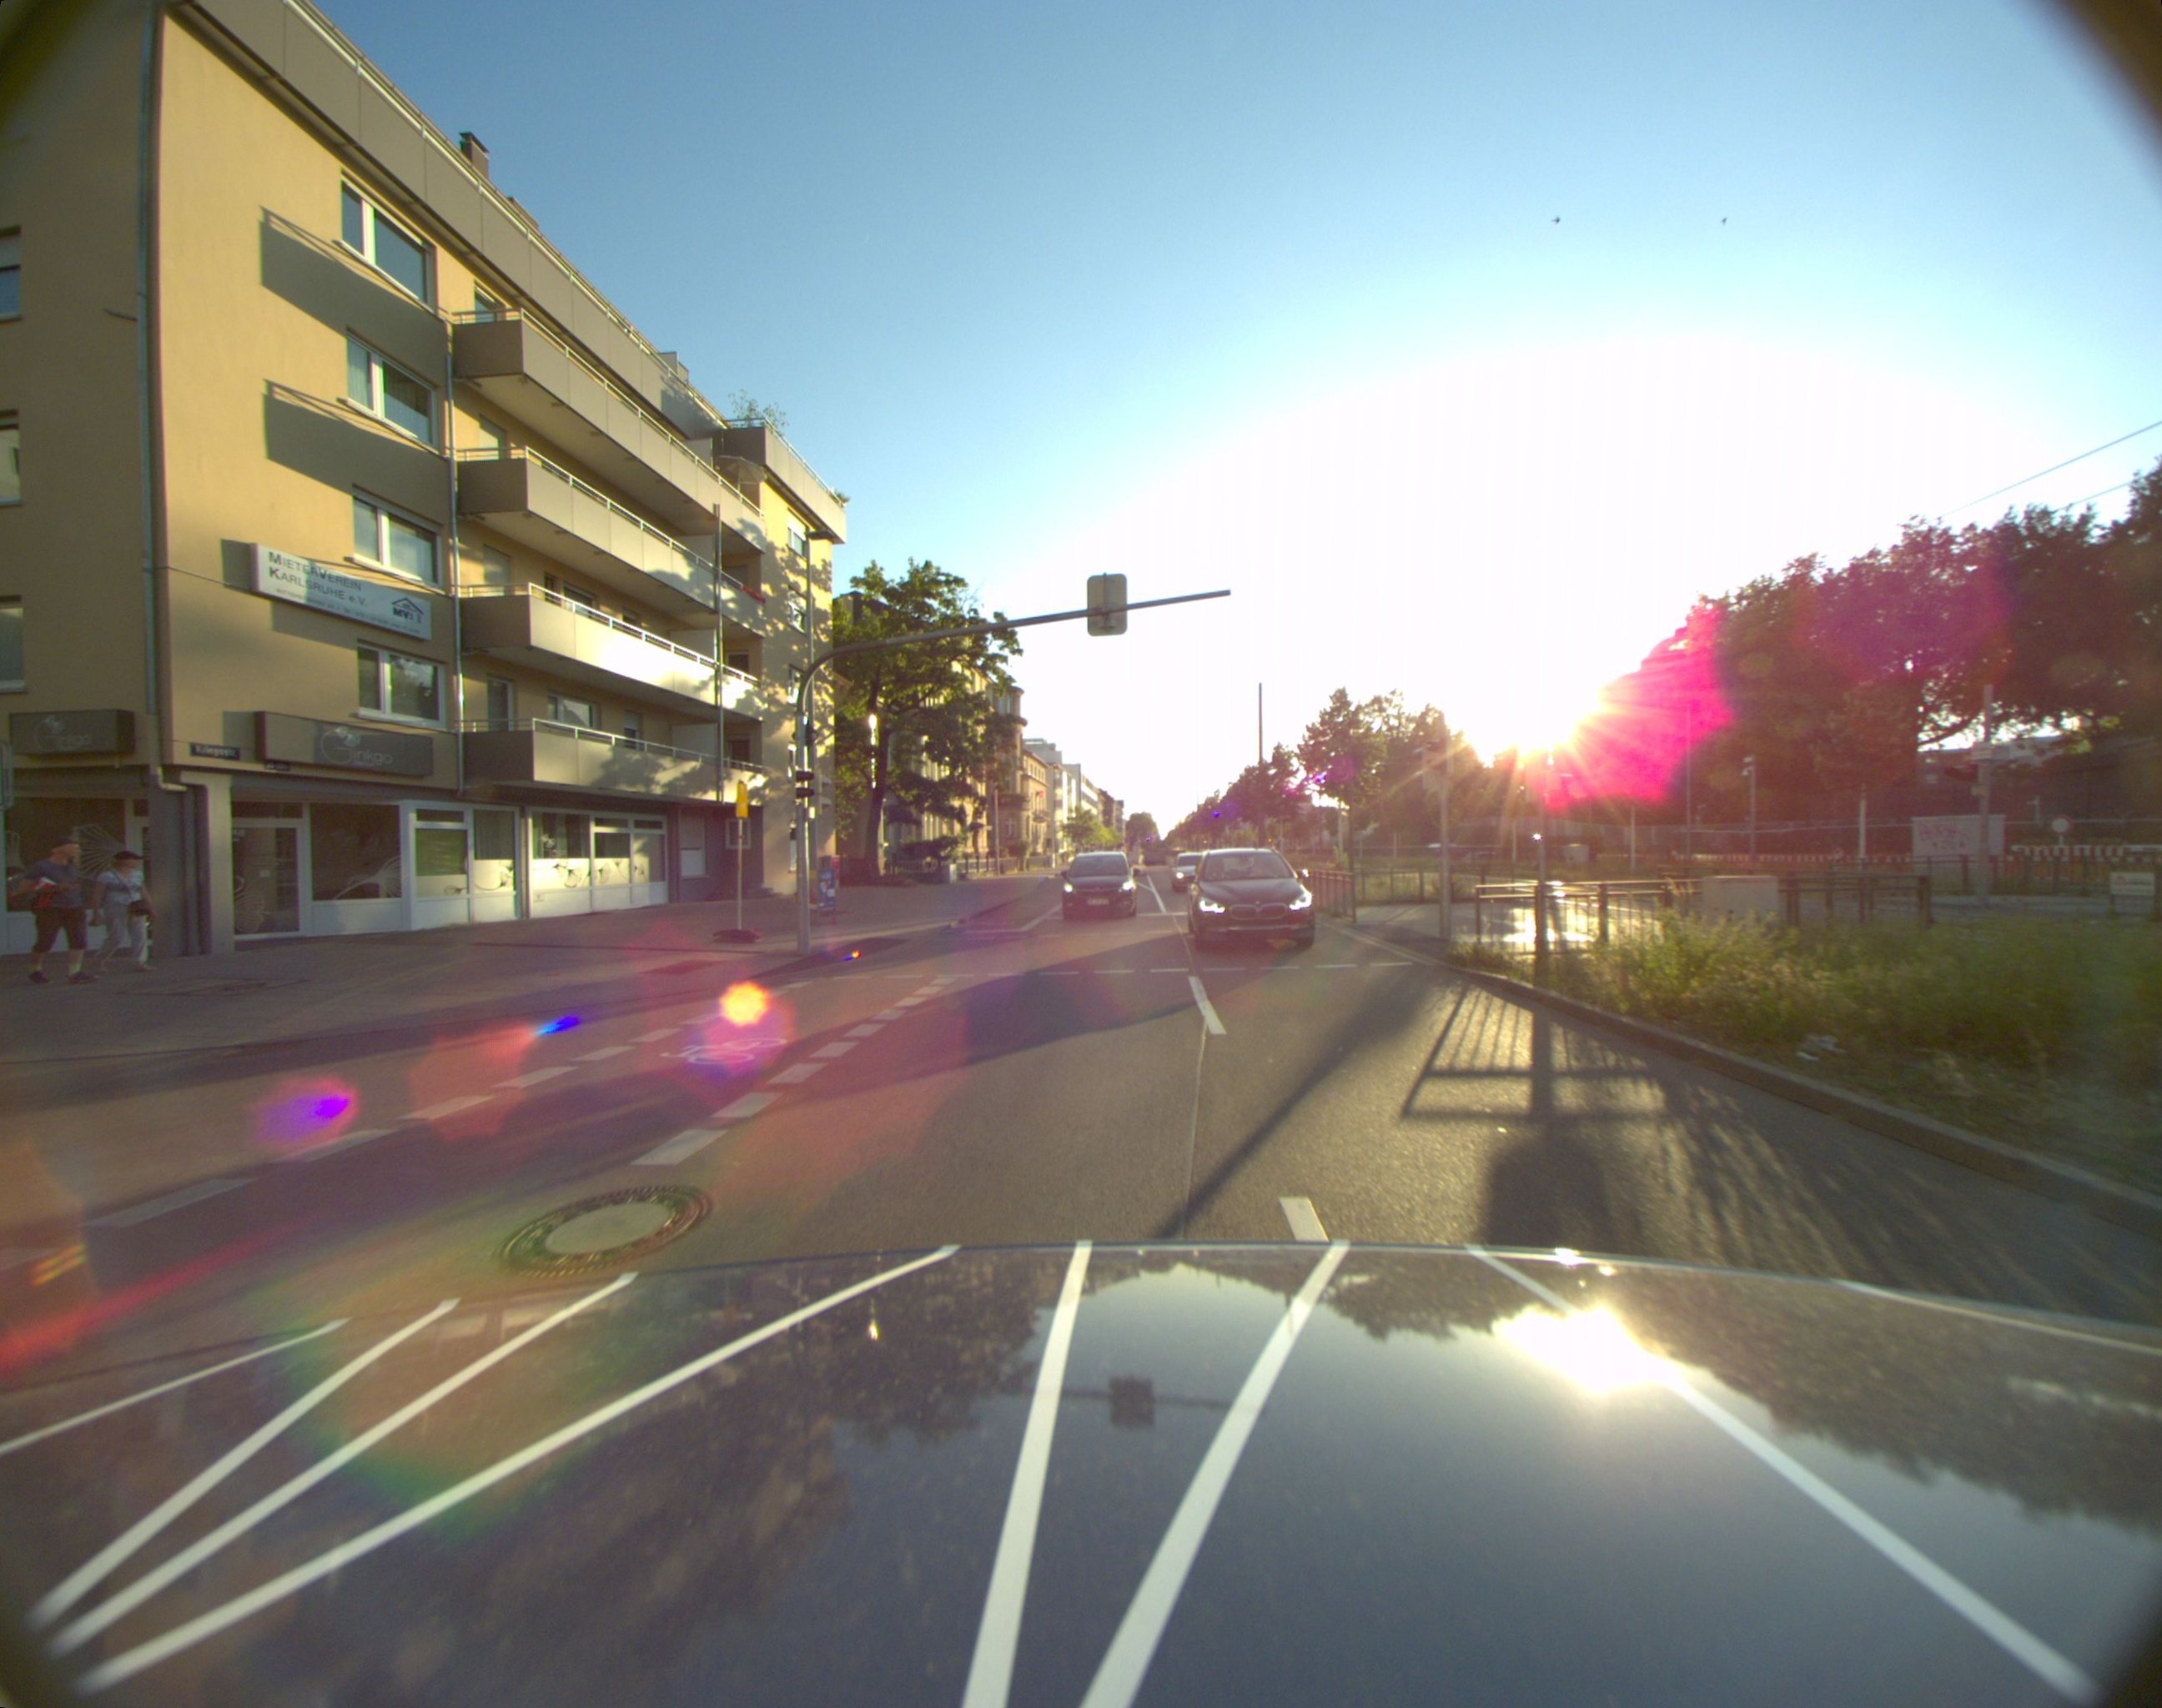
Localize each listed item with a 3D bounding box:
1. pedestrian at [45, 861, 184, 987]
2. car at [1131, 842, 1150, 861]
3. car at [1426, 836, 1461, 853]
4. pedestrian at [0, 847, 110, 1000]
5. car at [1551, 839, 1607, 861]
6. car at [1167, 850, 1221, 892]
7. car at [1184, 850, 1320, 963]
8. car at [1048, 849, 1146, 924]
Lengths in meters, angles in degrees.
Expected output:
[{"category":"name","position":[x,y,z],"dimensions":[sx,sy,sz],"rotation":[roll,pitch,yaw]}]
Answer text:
[{"category":"pedestrian","position":[-12.951,0.912,10.210],"dimensions":[0.821,1.606,0.767],"rotation":[-1,2,7]},{"category":"car","position":[6.106,-0.264,78.636],"dimensions":[1.726,1.910,4.294],"rotation":[-3,0,2]},{"category":"car","position":[35.352,-0.935,74.184],"dimensions":[1.848,1.551,3.801],"rotation":[-3,0,4]},{"category":"pedestrian","position":[-12.923,0.850,9.479],"dimensions":[0.839,1.849,0.544],"rotation":[-1,2,6]},{"category":"car","position":[33.562,-0.283,51.294],"dimensions":[1.695,1.362,3.696],"rotation":[-3,0,8]},{"category":"car","position":[4.448,0.634,30.422],"dimensions":[1.832,1.455,4.304],"rotation":[-3,0,5]},{"category":"car","position":[2.737,0.743,13.142],"dimensions":[1.824,1.510,4.793],"rotation":[-2,0,7]},{"category":"car","position":[0.544,0.726,19.276],"dimensions":[1.826,1.589,4.369],"rotation":[-3,0,9]}]
